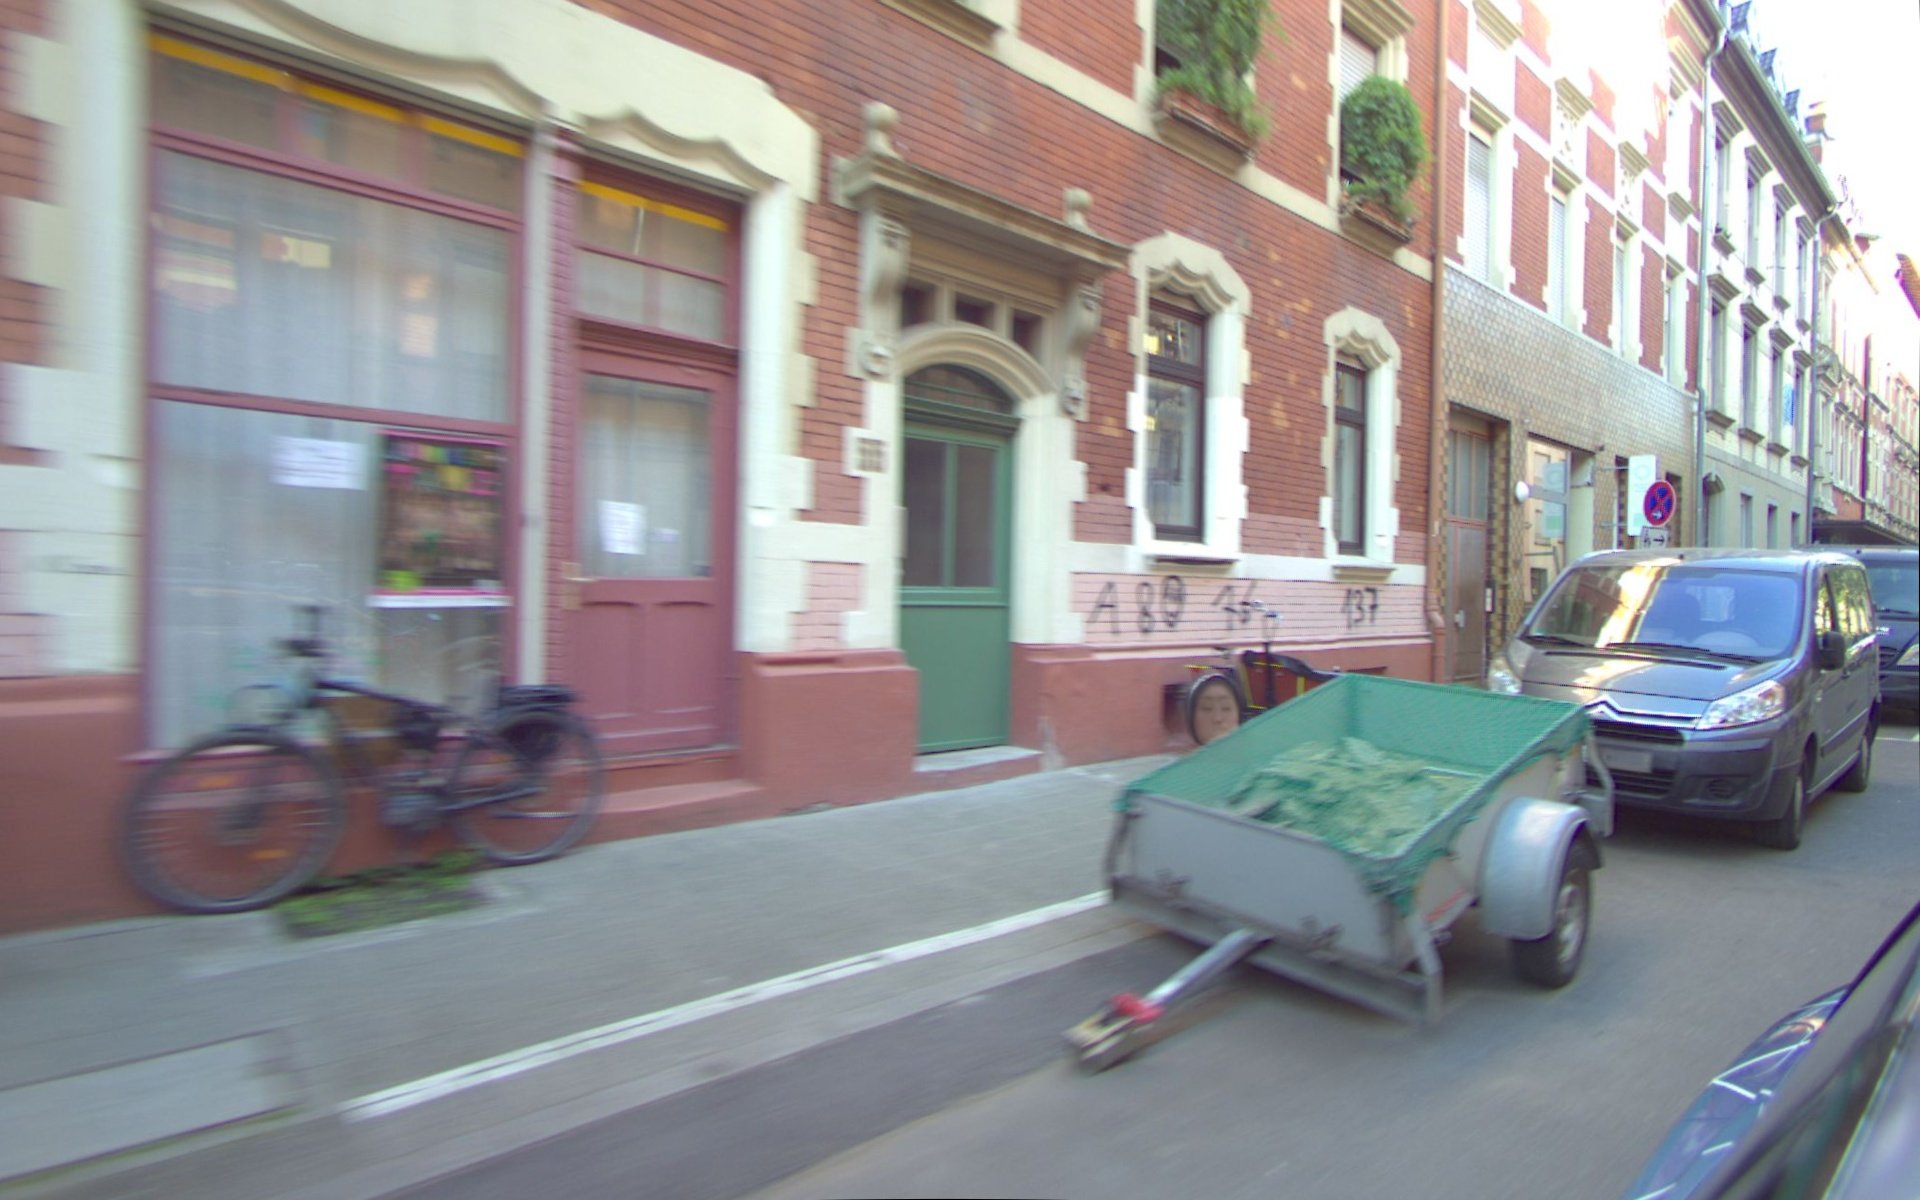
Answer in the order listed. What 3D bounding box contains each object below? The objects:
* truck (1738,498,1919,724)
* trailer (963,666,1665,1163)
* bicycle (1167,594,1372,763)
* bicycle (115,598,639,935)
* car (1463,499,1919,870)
[{"bbox_3d":[13.392,0.100,14.777,6.149,2.689,2.152,0,5,-44],"label":"truck"},{"bbox_3d":[1.619,0.907,4.188,2.988,1.127,1.506,0,-3,-43],"label":"trailer"},{"bbox_3d":[2.653,0.590,8.567,1.957,1.237,0.670,0,4,-41],"label":"bicycle"},{"bbox_3d":[-2.476,0.600,4.445,1.865,1.135,0.703,1,4,-42],"label":"bicycle"},{"bbox_3d":[5.721,0.475,7.675,4.497,2.009,1.847,0,-1,-42],"label":"car"}]
